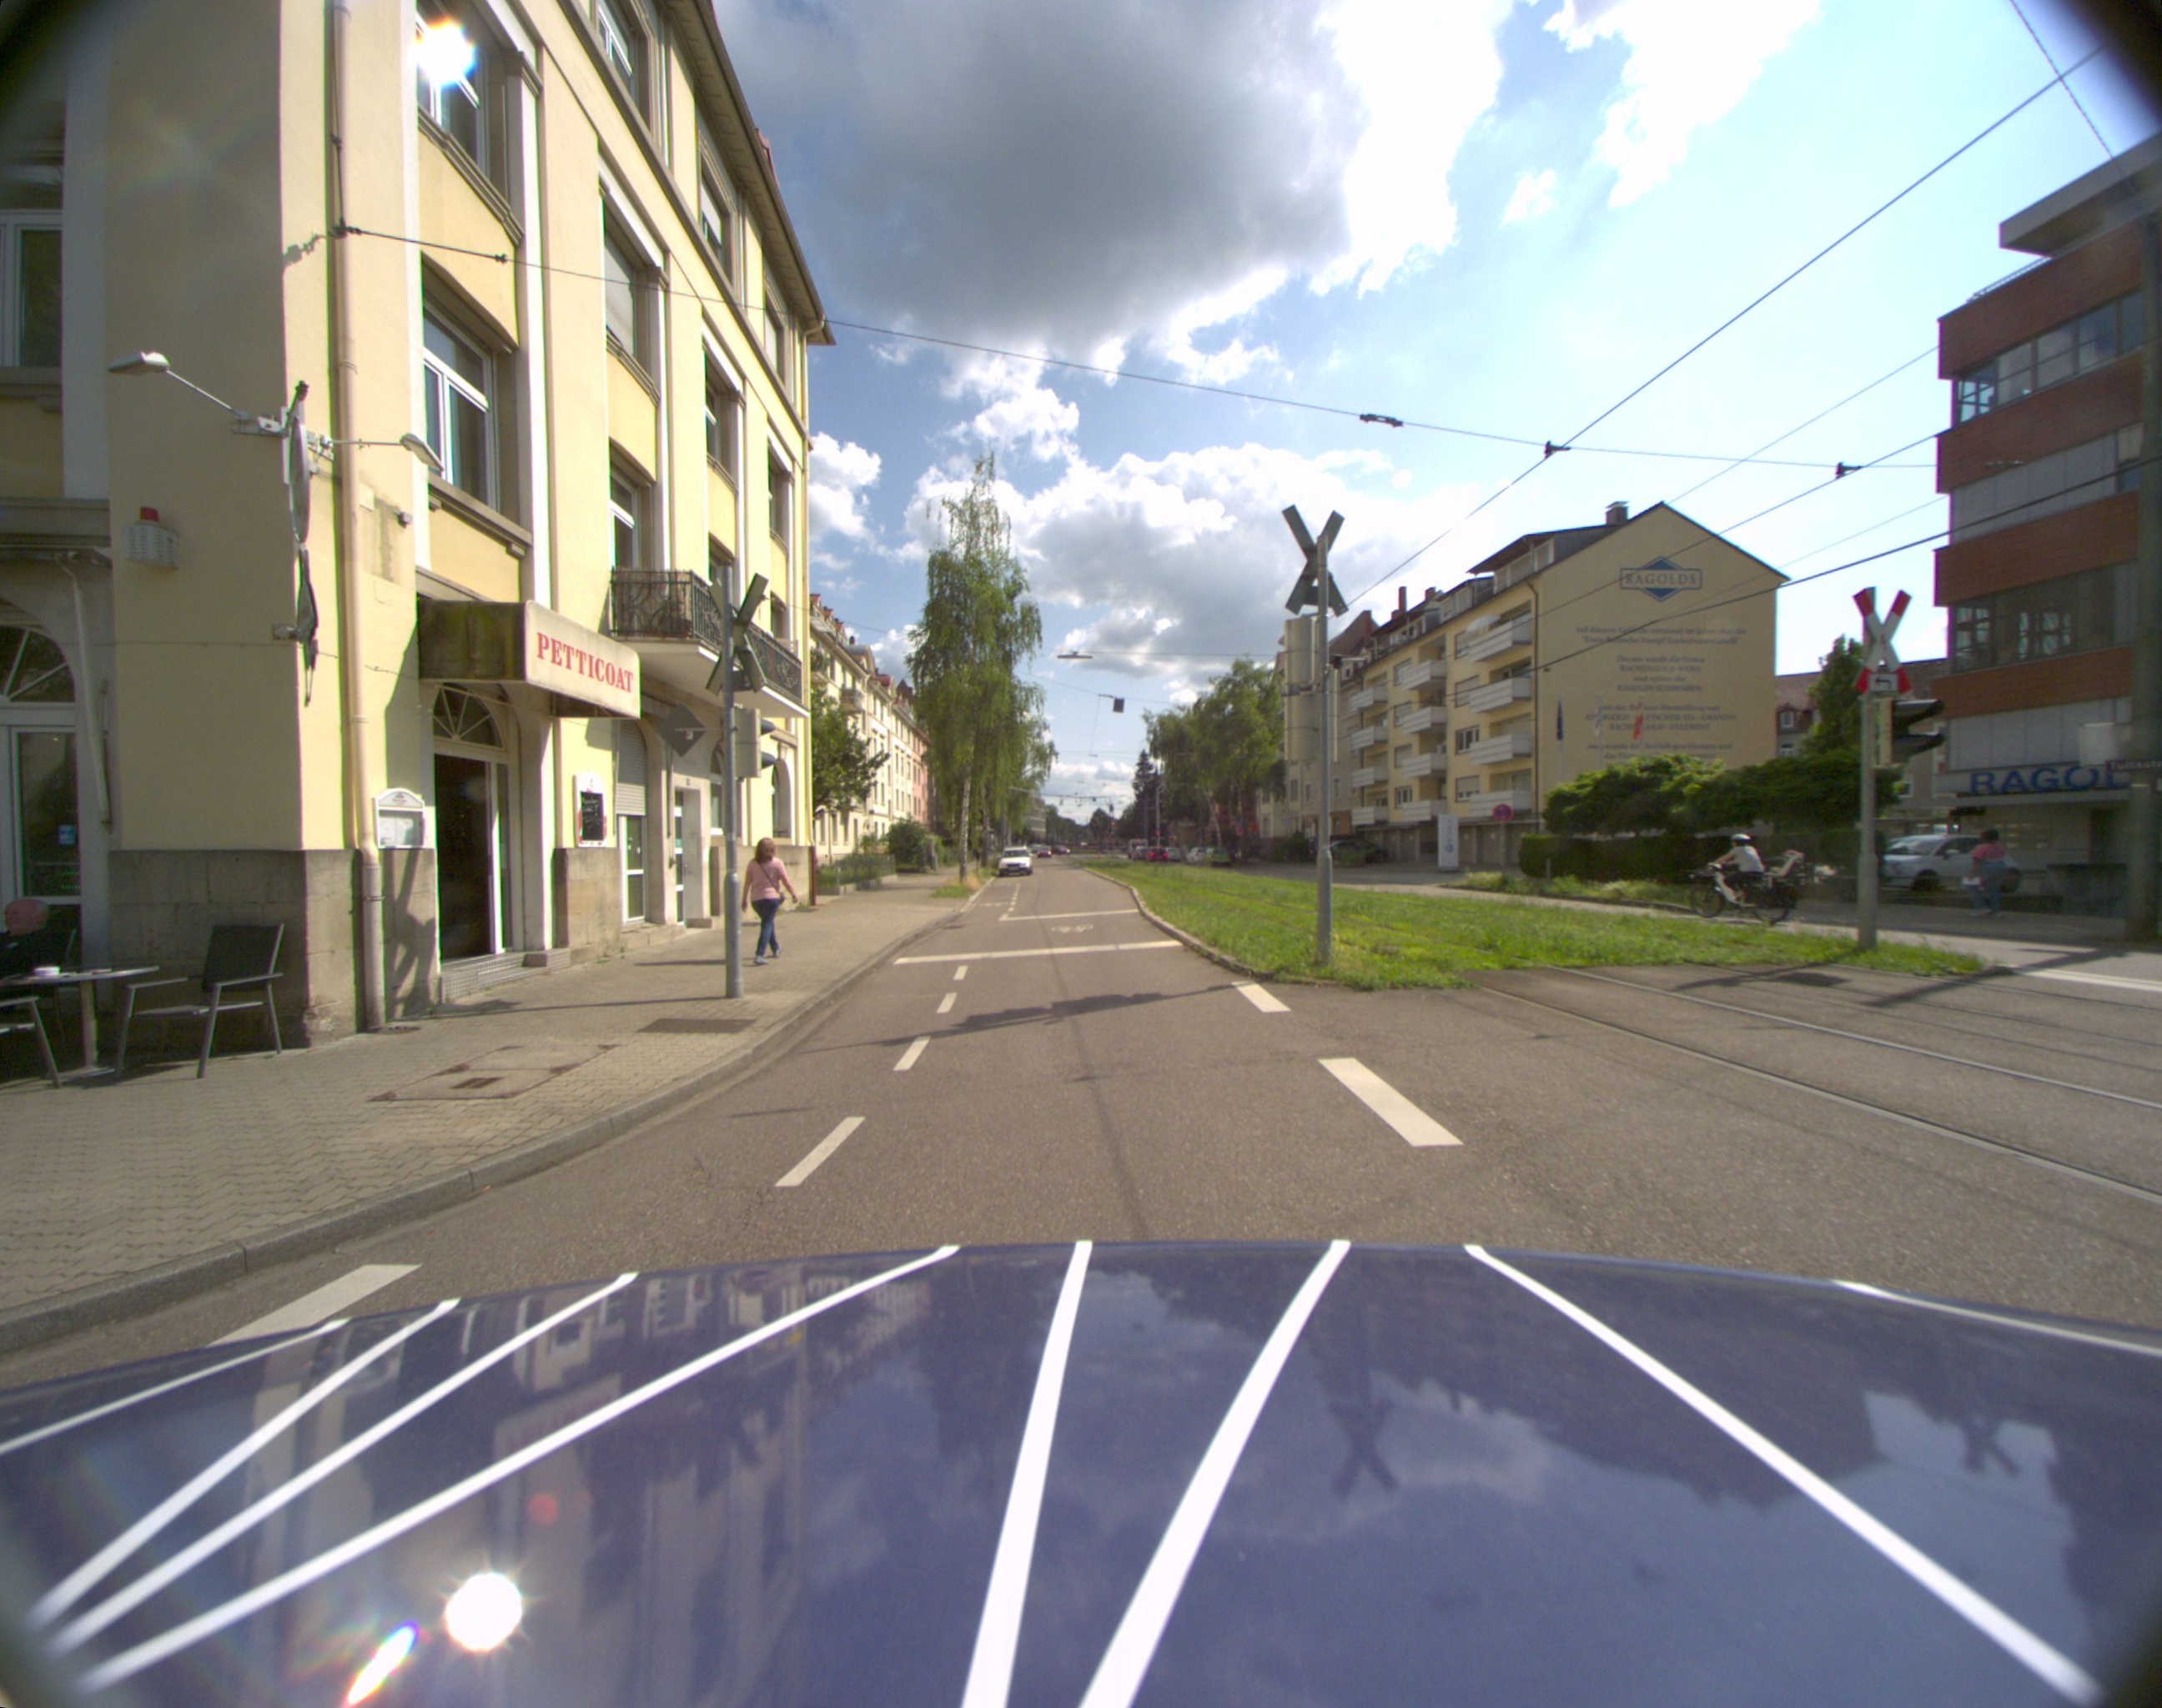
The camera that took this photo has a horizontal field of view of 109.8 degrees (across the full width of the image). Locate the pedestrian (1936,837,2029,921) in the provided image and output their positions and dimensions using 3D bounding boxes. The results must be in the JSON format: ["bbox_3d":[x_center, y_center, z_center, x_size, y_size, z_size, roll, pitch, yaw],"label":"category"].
[{"bbox_3d":[17.487,0.463,14.763,0.747,1.564,0.889,-1,1,-1],"label":"pedestrian"}]

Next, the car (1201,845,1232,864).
[{"bbox_3d":[10.468,0.003,58.872,1.598,1.424,3.613,0,1,-3],"label":"car"}]

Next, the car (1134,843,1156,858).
[{"bbox_3d":[6.469,-0.369,77.214,1.760,1.348,4.510,1,1,-2],"label":"car"}]

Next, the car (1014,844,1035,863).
[{"bbox_3d":[-4.768,-0.035,64.389,1.624,1.444,3.916,-4,1,-4],"label":"car"}]

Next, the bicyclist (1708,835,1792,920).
[{"bbox_3d":[12.750,0.428,14.507,0.787,1.573,0.863,0,1,-6],"label":"bicyclist"}]

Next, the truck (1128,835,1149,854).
[{"bbox_3d":[7.026,-1.134,93.093,2.190,2.202,6.611,0,1,1],"label":"truck"}]

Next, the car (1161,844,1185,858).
[{"bbox_3d":[9.314,-0.311,77.262,1.760,1.348,3.993,0,1,-2],"label":"car"}]

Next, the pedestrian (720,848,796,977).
[{"bbox_3d":[-4.280,0.748,10.112,0.674,1.639,0.763,1,1,-2],"label":"pedestrian"}]

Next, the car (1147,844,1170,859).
[{"bbox_3d":[7.099,-0.260,69.818,1.583,1.379,3.691,0,1,-3],"label":"car"}]

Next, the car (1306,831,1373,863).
[{"bbox_3d":[18.042,-0.502,53.165,3.997,2.002,1.936,-2,1,0],"label":"car"}]

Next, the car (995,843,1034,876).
[{"bbox_3d":[-3.543,0.259,41.178,1.726,1.620,3.999,-3,1,-1],"label":"car"}]

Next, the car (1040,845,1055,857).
[{"bbox_3d":[-4.295,-0.386,97.778,1.741,1.313,3.999,-2,1,0],"label":"car"}]

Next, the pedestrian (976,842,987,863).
[{"bbox_3d":[-8.133,-0.106,62.207,0.732,1.673,0.690,1,1,0],"label":"pedestrian"}]

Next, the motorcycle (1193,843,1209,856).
[{"bbox_3d":[11.789,-0.454,74.538,0.903,1.235,2.292,-1,1,-9],"label":"motorcycle"}]

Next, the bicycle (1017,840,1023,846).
[{"bbox_3d":[-9.686,-1.693,120.306,0.771,0.885,1.891,0,1,2],"label":"bicycle"}]

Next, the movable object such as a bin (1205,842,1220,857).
[{"bbox_3d":[12.415,-0.406,71.743,0.953,1.359,1.521,-6,1,-4],"label":"movable object such as a bin"}]

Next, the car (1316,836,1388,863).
[{"bbox_3d":[17.951,-0.338,50.411,3.998,1.593,1.972,-2,1,-3],"label":"car"}]

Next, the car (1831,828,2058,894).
[{"bbox_3d":[22.528,0.157,19.935,3.999,1.587,1.998,-1,1,-6],"label":"car"}]

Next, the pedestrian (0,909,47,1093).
[{"bbox_3d":[-7.757,1.062,4.833,0.536,1.262,1.302,-2,3,-7],"label":"pedestrian"}]

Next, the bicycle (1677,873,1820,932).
[{"bbox_3d":[12.765,0.885,14.638,0.682,0.965,2.177,0,1,-6],"label":"bicycle"}]

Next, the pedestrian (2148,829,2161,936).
[{"bbox_3d":[16.931,0.450,11.467,0.558,1.648,0.746,0,2,-1],"label":"pedestrian"}]

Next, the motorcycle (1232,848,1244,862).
[{"bbox_3d":[12.544,0.070,60.827,0.500,1.037,1.631,-4,2,-4],"label":"motorcycle"}]

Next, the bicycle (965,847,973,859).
[{"bbox_3d":[-9.883,-0.078,67.288,0.473,1.071,2.182,0,1,-2],"label":"bicycle"}]

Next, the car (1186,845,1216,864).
[{"bbox_3d":[10.026,0.031,63.955,1.649,1.469,4.223,1,1,-3],"label":"car"}]
